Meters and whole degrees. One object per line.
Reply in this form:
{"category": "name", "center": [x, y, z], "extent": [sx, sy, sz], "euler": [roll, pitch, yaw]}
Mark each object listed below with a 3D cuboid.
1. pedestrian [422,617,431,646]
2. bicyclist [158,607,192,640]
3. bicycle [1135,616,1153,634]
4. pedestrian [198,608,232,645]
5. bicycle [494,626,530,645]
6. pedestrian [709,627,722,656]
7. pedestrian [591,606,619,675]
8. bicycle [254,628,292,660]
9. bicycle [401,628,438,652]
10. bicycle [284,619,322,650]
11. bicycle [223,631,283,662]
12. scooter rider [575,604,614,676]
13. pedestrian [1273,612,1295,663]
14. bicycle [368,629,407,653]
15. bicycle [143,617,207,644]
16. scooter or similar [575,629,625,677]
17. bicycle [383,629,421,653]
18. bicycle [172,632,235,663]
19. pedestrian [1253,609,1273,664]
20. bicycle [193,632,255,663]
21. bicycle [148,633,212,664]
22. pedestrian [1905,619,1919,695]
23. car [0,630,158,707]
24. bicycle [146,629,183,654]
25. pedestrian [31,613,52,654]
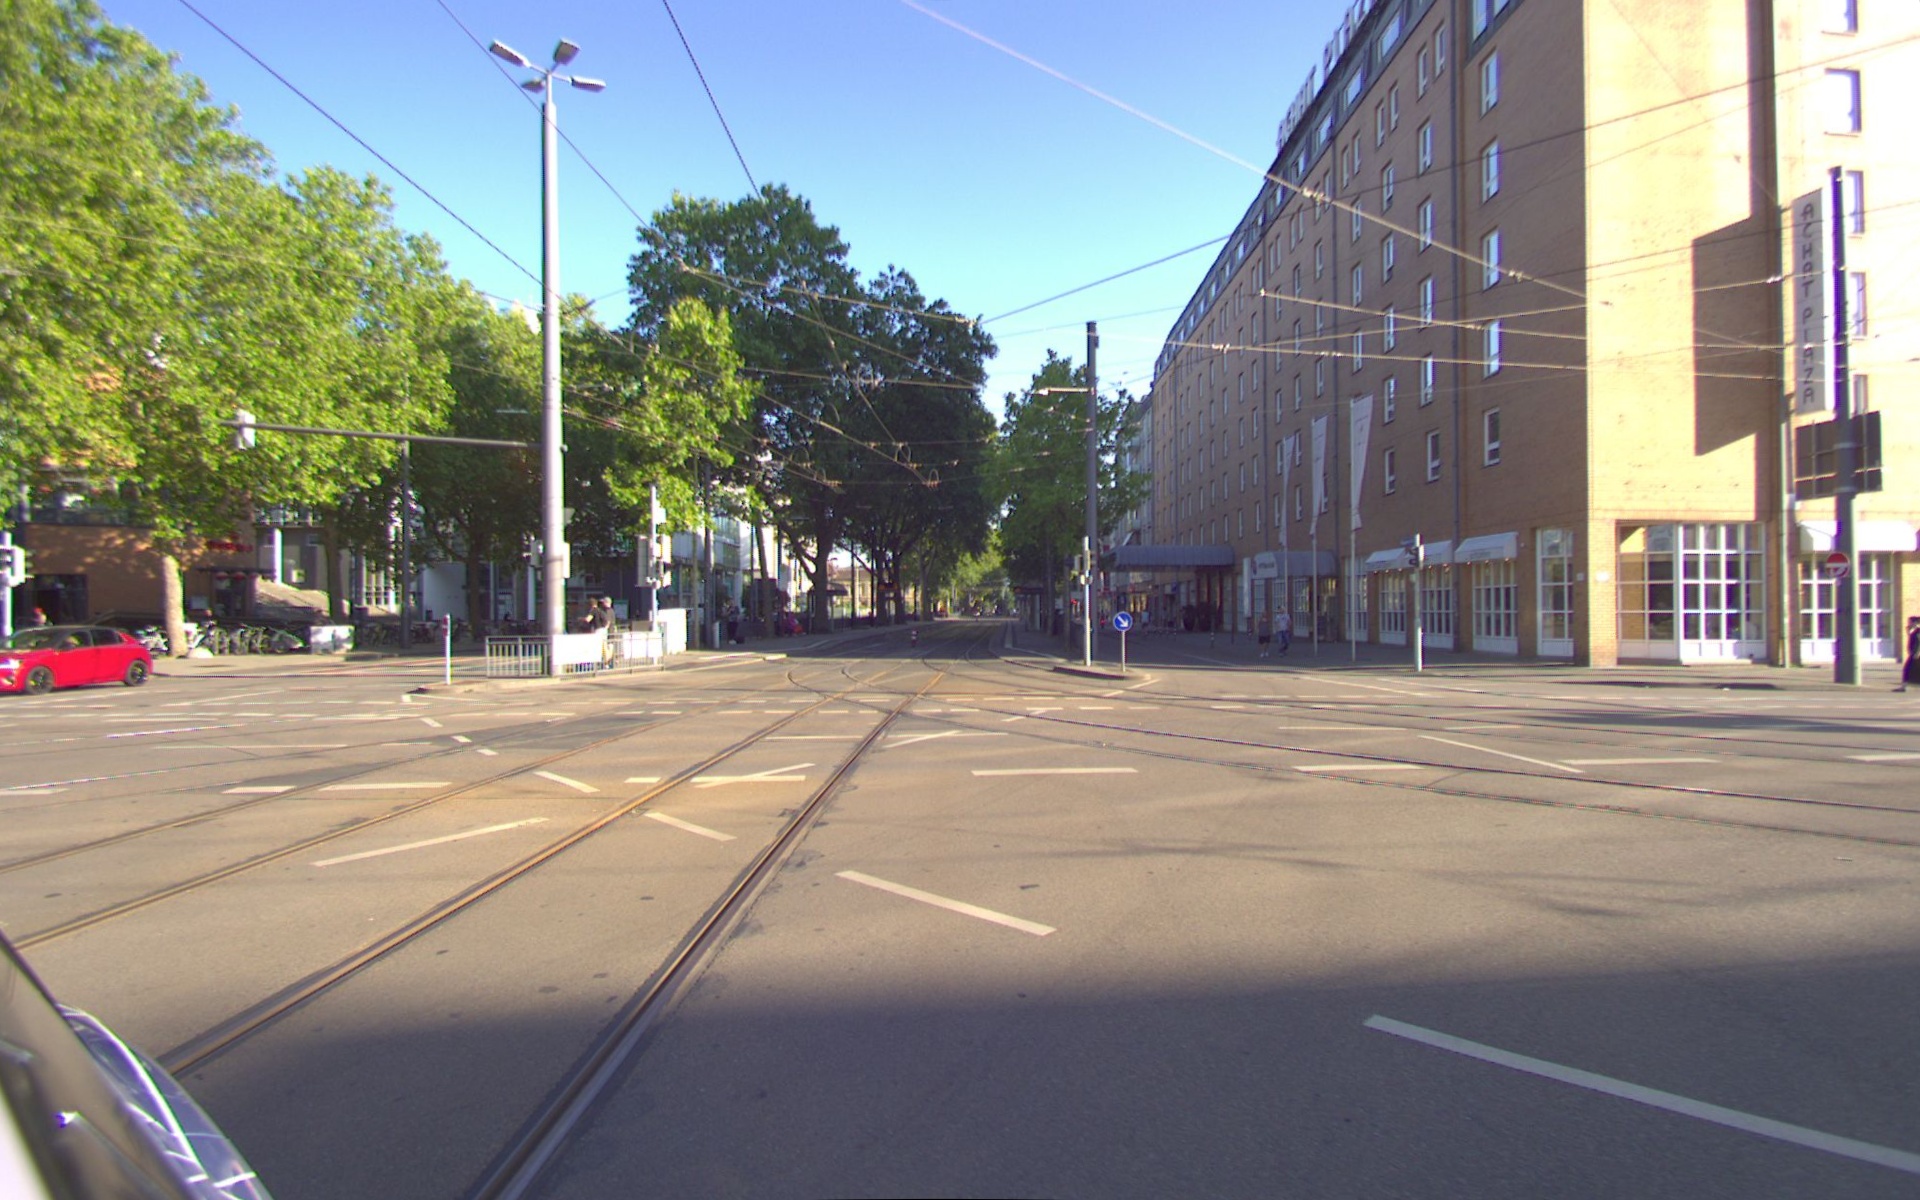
{"category": "pedestrian", "center": [-28.530, 1.683, 54.087], "extent": [0.403, 1.567, 0.449], "euler": [0, -1, -26]}
{"category": "bicyclist", "center": [-32.900, 0.970, 42.417], "extent": [0.672, 1.355, 0.949], "euler": [-1, -1, 30]}
{"category": "bicycle", "center": [10.425, 1.406, 57.397], "extent": [0.605, 1.026, 2.154], "euler": [0, -1, -1]}
{"category": "pedestrian", "center": [-31.140, 1.096, 42.310], "extent": [0.755, 1.554, 0.876], "euler": [0, -1, -2]}
{"category": "bicycle", "center": [-25.615, 2.035, 57.844], "extent": [1.927, 1.072, 0.576], "euler": [-1, -1, 13]}
{"category": "pedestrian", "center": [-8.993, 1.520, 37.291], "extent": [0.400, 1.040, 0.379], "euler": [0, -1, -3]}
{"category": "pedestrian", "center": [-9.431, 1.067, 26.876], "extent": [0.560, 1.810, 0.675], "euler": [1, -1, -30]}
{"category": "bicycle", "center": [-27.317, 1.739, 40.205], "extent": [0.771, 1.198, 3.563], "euler": [1, -2, -42]}
{"category": "bicycle", "center": [-24.987, 1.849, 46.802], "extent": [0.571, 1.072, 1.944], "euler": [0, -1, 4]}
{"category": "bicycle", "center": [-26.767, 1.376, 41.223], "extent": [0.771, 1.198, 3.563], "euler": [1, -2, -42]}
{"category": "bicycle", "center": [-26.120, 1.710, 37.414], "extent": [0.773, 1.072, 1.944], "euler": [0, -1, 4]}
{"category": "scooter rider", "center": [-9.391, 1.022, 26.021], "extent": [0.754, 1.847, 0.587], "euler": [0, -1, 9]}
{"category": "pedestrian", "center": [11.386, 1.306, 35.557], "extent": [0.642, 1.756, 0.702], "euler": [-1, -1, 15]}
{"category": "bicycle", "center": [-26.570, 1.889, 46.998], "extent": [0.571, 1.072, 1.944], "euler": [0, -1, 4]}
{"category": "bicycle", "center": [-32.889, 1.259, 42.424], "extent": [0.693, 1.075, 1.994], "euler": [-1, -1, 30]}
{"category": "scooter or similar", "center": [-9.240, 1.354, 25.990], "extent": [1.147, 1.188, 0.454], "euler": [0, -1, 9]}
{"category": "bicycle", "center": [-25.801, 1.868, 46.831], "extent": [0.571, 1.072, 1.944], "euler": [0, -1, 4]}
{"category": "bicycle", "center": [-27.938, 1.752, 37.424], "extent": [0.773, 1.072, 1.944], "euler": [0, -1, 4]}
{"category": "pedestrian", "center": [10.688, 1.276, 35.746], "extent": [0.642, 1.909, 0.742], "euler": [0, -1, 15]}
{"category": "bicycle", "center": [-27.110, 1.731, 37.307], "extent": [0.773, 1.072, 1.944], "euler": [0, -1, 4]}
{"category": "bicycle", "center": [-28.849, 1.775, 37.460], "extent": [0.773, 1.072, 1.944], "euler": [0, -1, 4]}
{"category": "pedestrian", "center": [20.002, 1.169, 20.679], "extent": [0.536, 1.565, 0.872], "euler": [0, -1, -32]}
{"category": "car", "center": [-19.573, 1.412, 21.693], "extent": [1.668, 1.439, 4.000], "euler": [-1, -1, -1]}
{"category": "bicycle", "center": [-35.610, 1.833, 45.299], "extent": [2.009, 1.075, 0.688], "euler": [-1, -1, 33]}
{"category": "pedestrian", "center": [-38.597, 1.409, 42.531], "extent": [0.569, 1.682, 0.537], "euler": [-1, -1, 33]}
